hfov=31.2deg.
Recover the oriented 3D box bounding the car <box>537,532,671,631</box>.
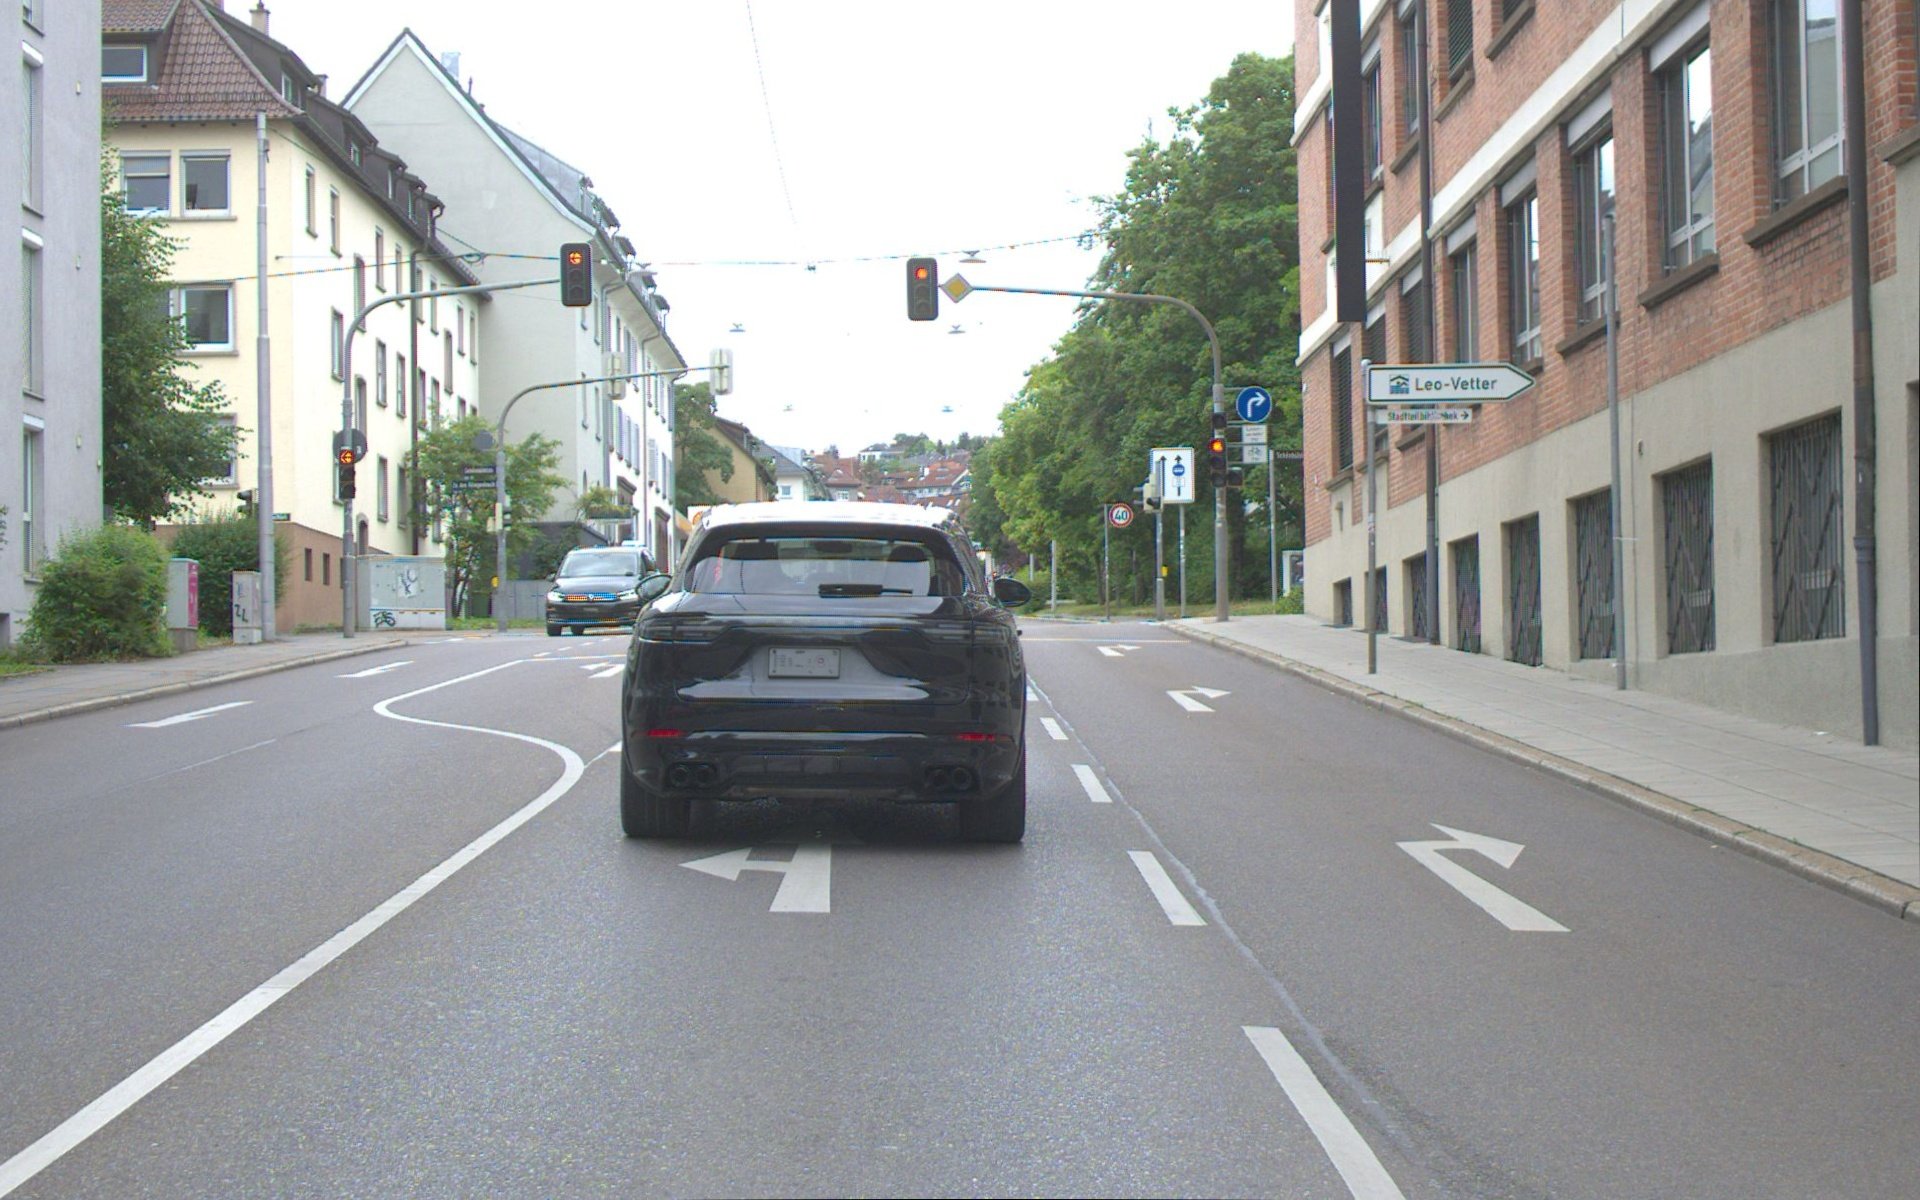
[{"bbox_3d":[-6.535,-0.369,63.426,1.897,1.686,4.000,-3,1,1],"label":"car"}]

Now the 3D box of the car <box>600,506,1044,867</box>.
[{"bbox_3d":[-0.802,0.362,18.066,2.023,1.636,4.357,1,1,-4],"label":"car"}]

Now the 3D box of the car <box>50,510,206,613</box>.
[{"bbox_3d":[-14.740,-0.697,61.081,1.844,1.686,4.001,-3,1,-2],"label":"car"}]
